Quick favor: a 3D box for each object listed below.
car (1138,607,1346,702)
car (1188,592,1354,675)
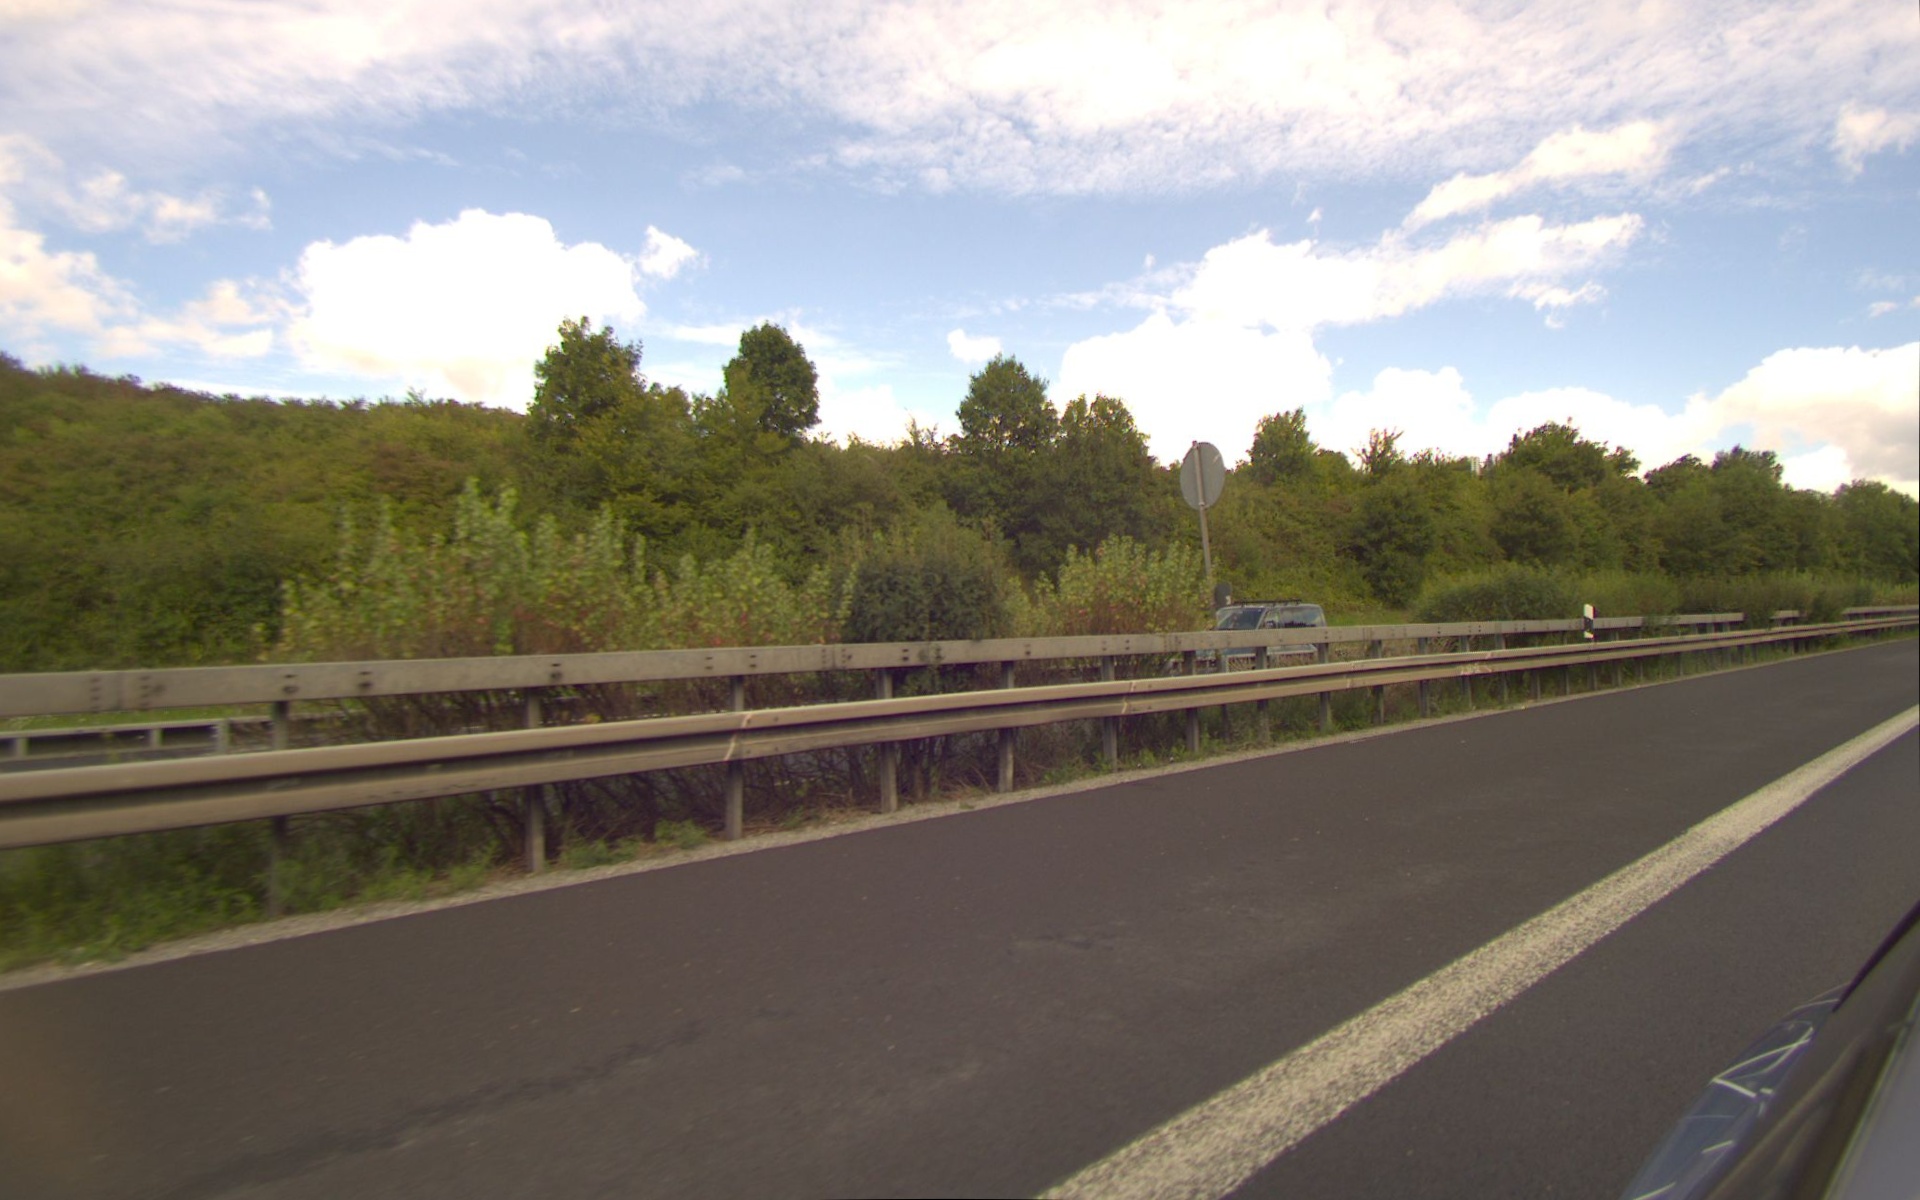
[{"bbox_3d":[5.439,0.936,19.259,4.268,1.591,1.787,0,0,-41],"label":"car"},{"bbox_3d":[8.567,0.823,27.678,4.822,2.039,1.998,-1,0,-39],"label":"car"}]
